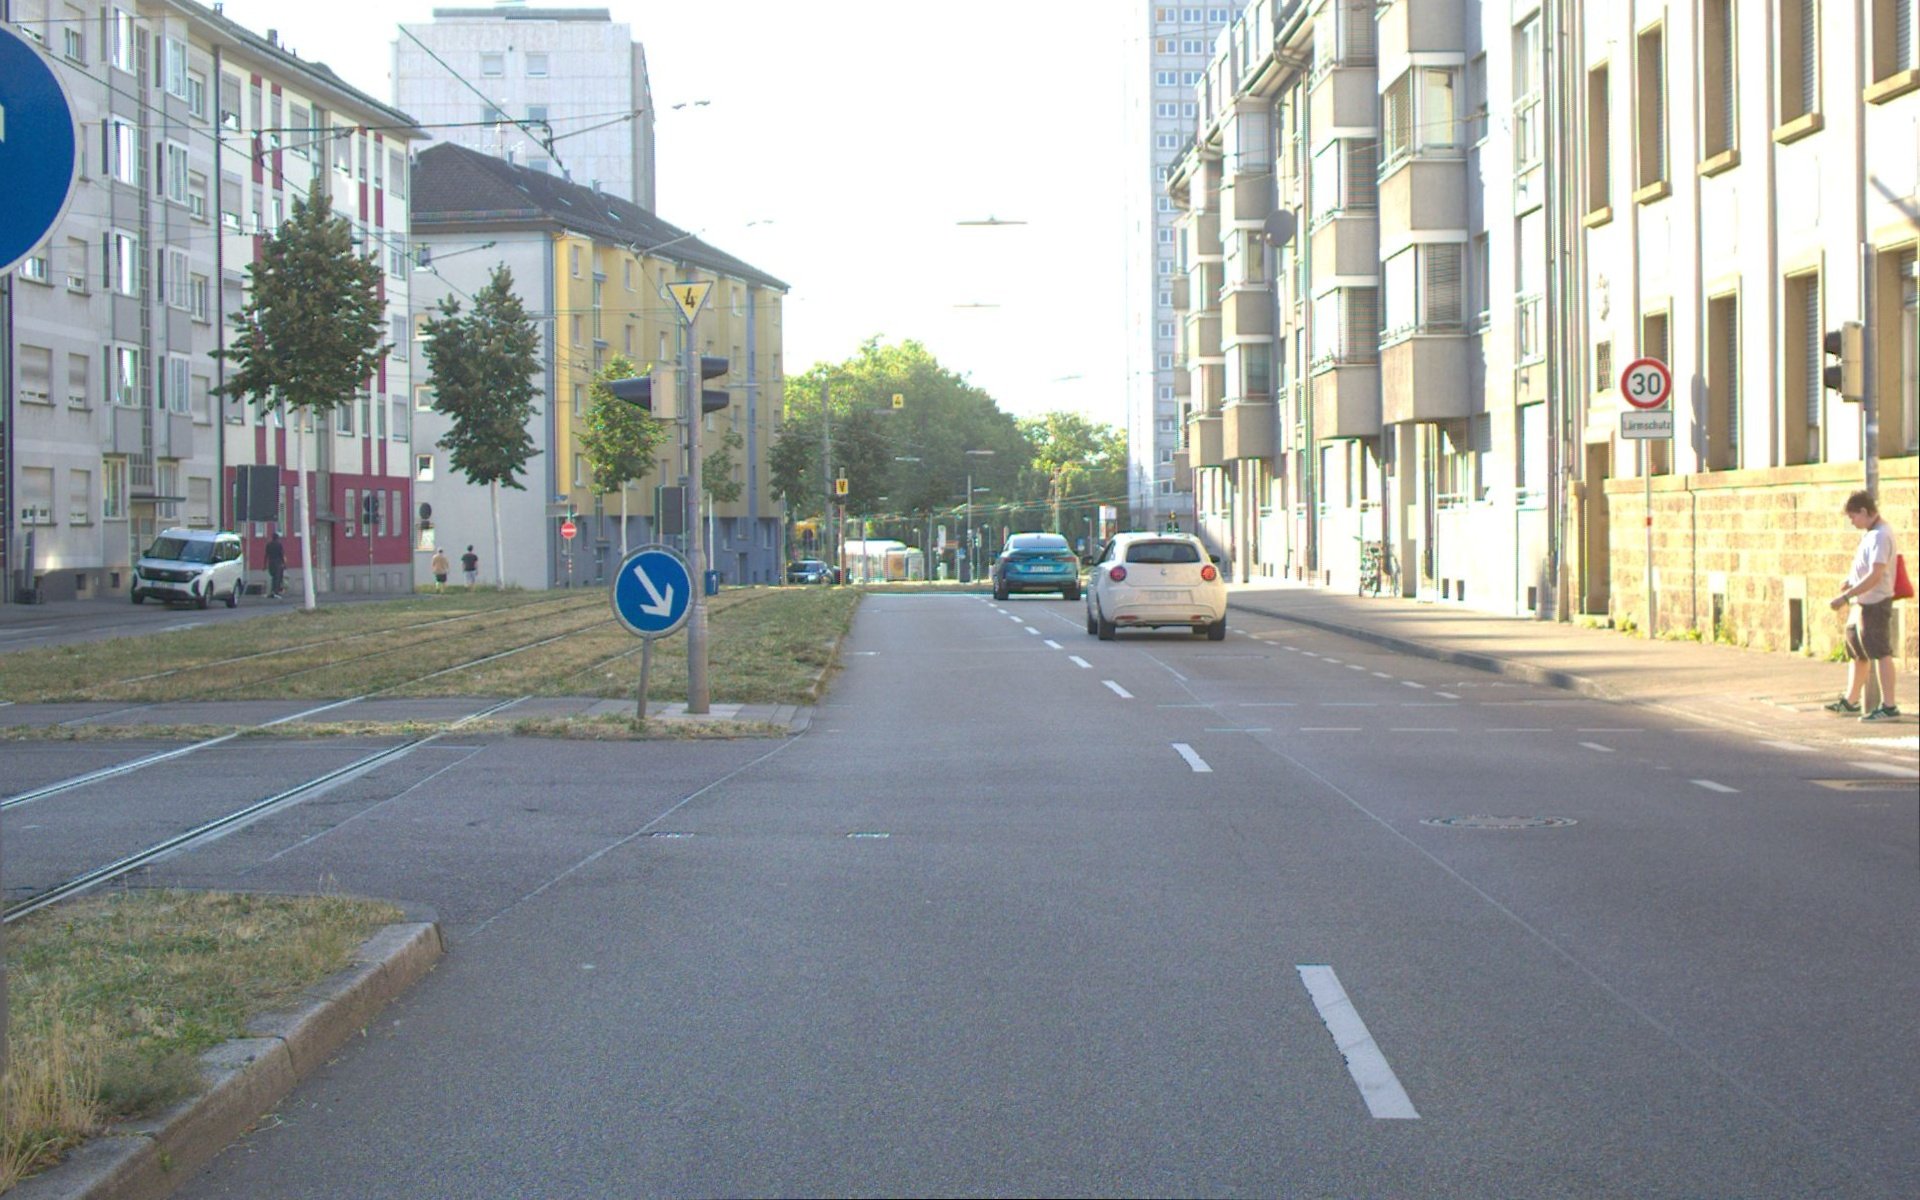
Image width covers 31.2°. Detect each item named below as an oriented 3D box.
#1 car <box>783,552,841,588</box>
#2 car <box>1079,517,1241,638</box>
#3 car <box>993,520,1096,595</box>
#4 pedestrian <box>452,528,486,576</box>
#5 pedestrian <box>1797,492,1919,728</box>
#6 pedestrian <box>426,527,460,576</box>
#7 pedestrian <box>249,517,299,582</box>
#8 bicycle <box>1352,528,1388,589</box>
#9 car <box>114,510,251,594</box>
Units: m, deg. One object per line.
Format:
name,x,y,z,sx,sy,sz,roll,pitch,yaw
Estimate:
car,-7.021,-1.425,163.325,1.898,1.628,4.746,-1,1,8
car,2.688,-0.316,47.069,1.993,1.558,4.000,1,1,1
car,1.806,-0.917,74.911,1.993,1.549,4.394,1,1,-1
pedestrian,-17.104,-1.662,119.754,0.962,1.664,1.011,1,0,5
pedestrian,6.896,0.070,26.115,0.835,1.756,0.824,1,0,-1
pedestrian,-17.915,-1.667,119.149,0.962,1.688,1.011,1,0,5
pedestrian,-18.835,-1.386,94.475,1.269,1.755,1.274,1,0,-9
bicycle,7.375,-0.746,61.888,0.383,1.092,1.504,-1,1,-3
car,-18.402,-1.127,81.582,1.994,1.918,4.541,1,1,3
